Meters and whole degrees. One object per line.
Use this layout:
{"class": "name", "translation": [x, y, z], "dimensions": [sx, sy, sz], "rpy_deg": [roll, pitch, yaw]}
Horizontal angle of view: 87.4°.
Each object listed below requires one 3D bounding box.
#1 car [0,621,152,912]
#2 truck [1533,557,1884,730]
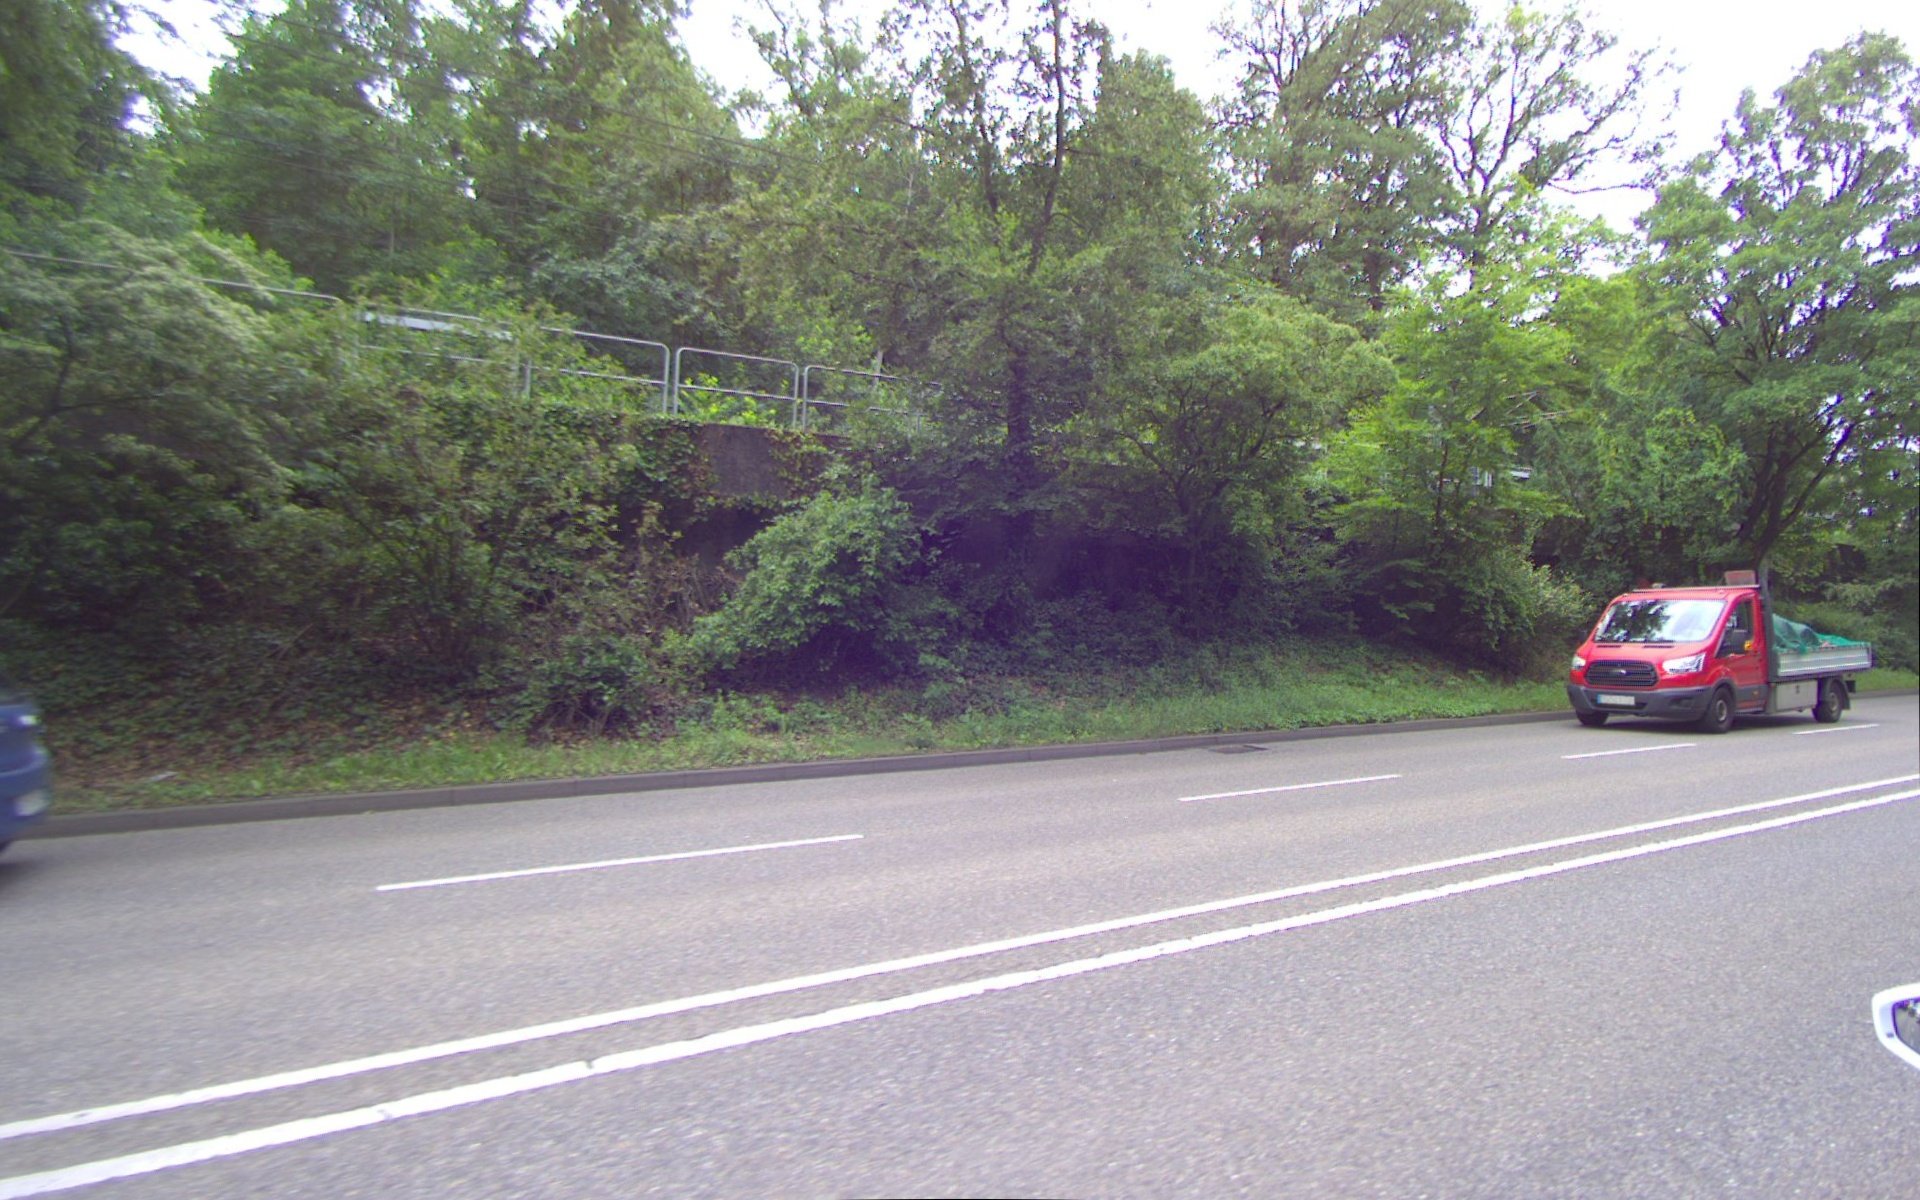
{"class": "car", "translation": [-6.779, 0.848, 5.078], "dimensions": [3.954, 1.505, 1.662], "rpy_deg": [2, -3, -31]}
{"class": "truck", "translation": [12.554, 0.747, 16.718], "dimensions": [6.386, 2.442, 2.168], "rpy_deg": [2, -4, -29]}
